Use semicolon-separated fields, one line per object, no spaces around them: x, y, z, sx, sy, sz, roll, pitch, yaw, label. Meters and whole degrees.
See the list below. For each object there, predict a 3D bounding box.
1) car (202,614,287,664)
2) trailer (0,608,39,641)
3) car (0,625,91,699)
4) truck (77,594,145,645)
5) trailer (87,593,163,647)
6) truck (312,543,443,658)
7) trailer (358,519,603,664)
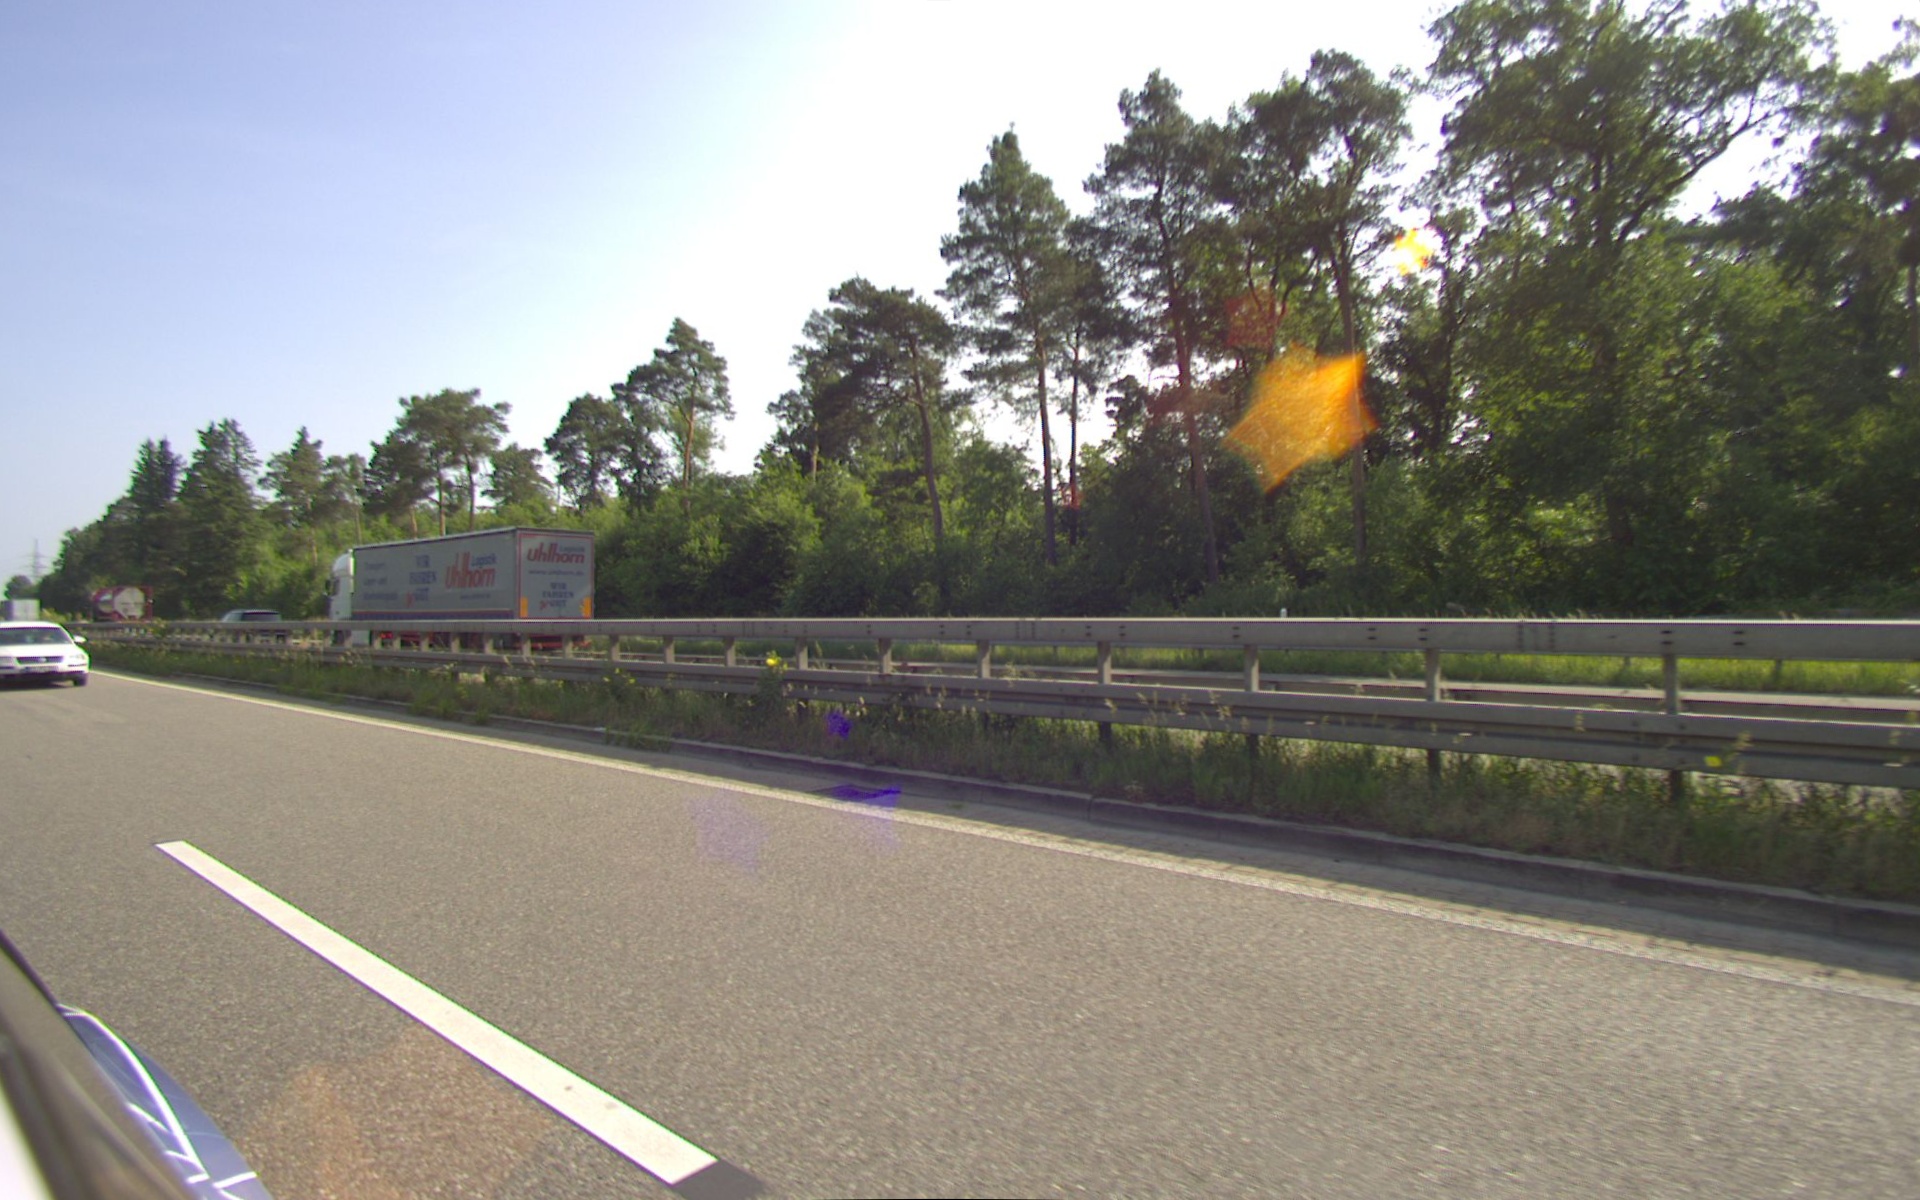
-26.230;1.394;37.052;4.166;1.701;1.668;-2;-1;42;car
-123.606;3.271;132.804;13.076;4.232;2.663;-2;-2;42;trailer
-21.442;1.340;22.974;5.258;1.497;1.732;-1;-1;39;car
-70.421;1.596;83.890;6.227;4.069;3.234;-1;0;40;truck
-66.806;1.541;80.868;8.368;4.070;3.261;-1;0;40;trailer
-23.113;0.077;40.058;5.543;4.228;2.808;-2;-2;41;truck
-16.760;-0.103;34.652;12.403;4.241;2.803;-2;-2;41;trailer
